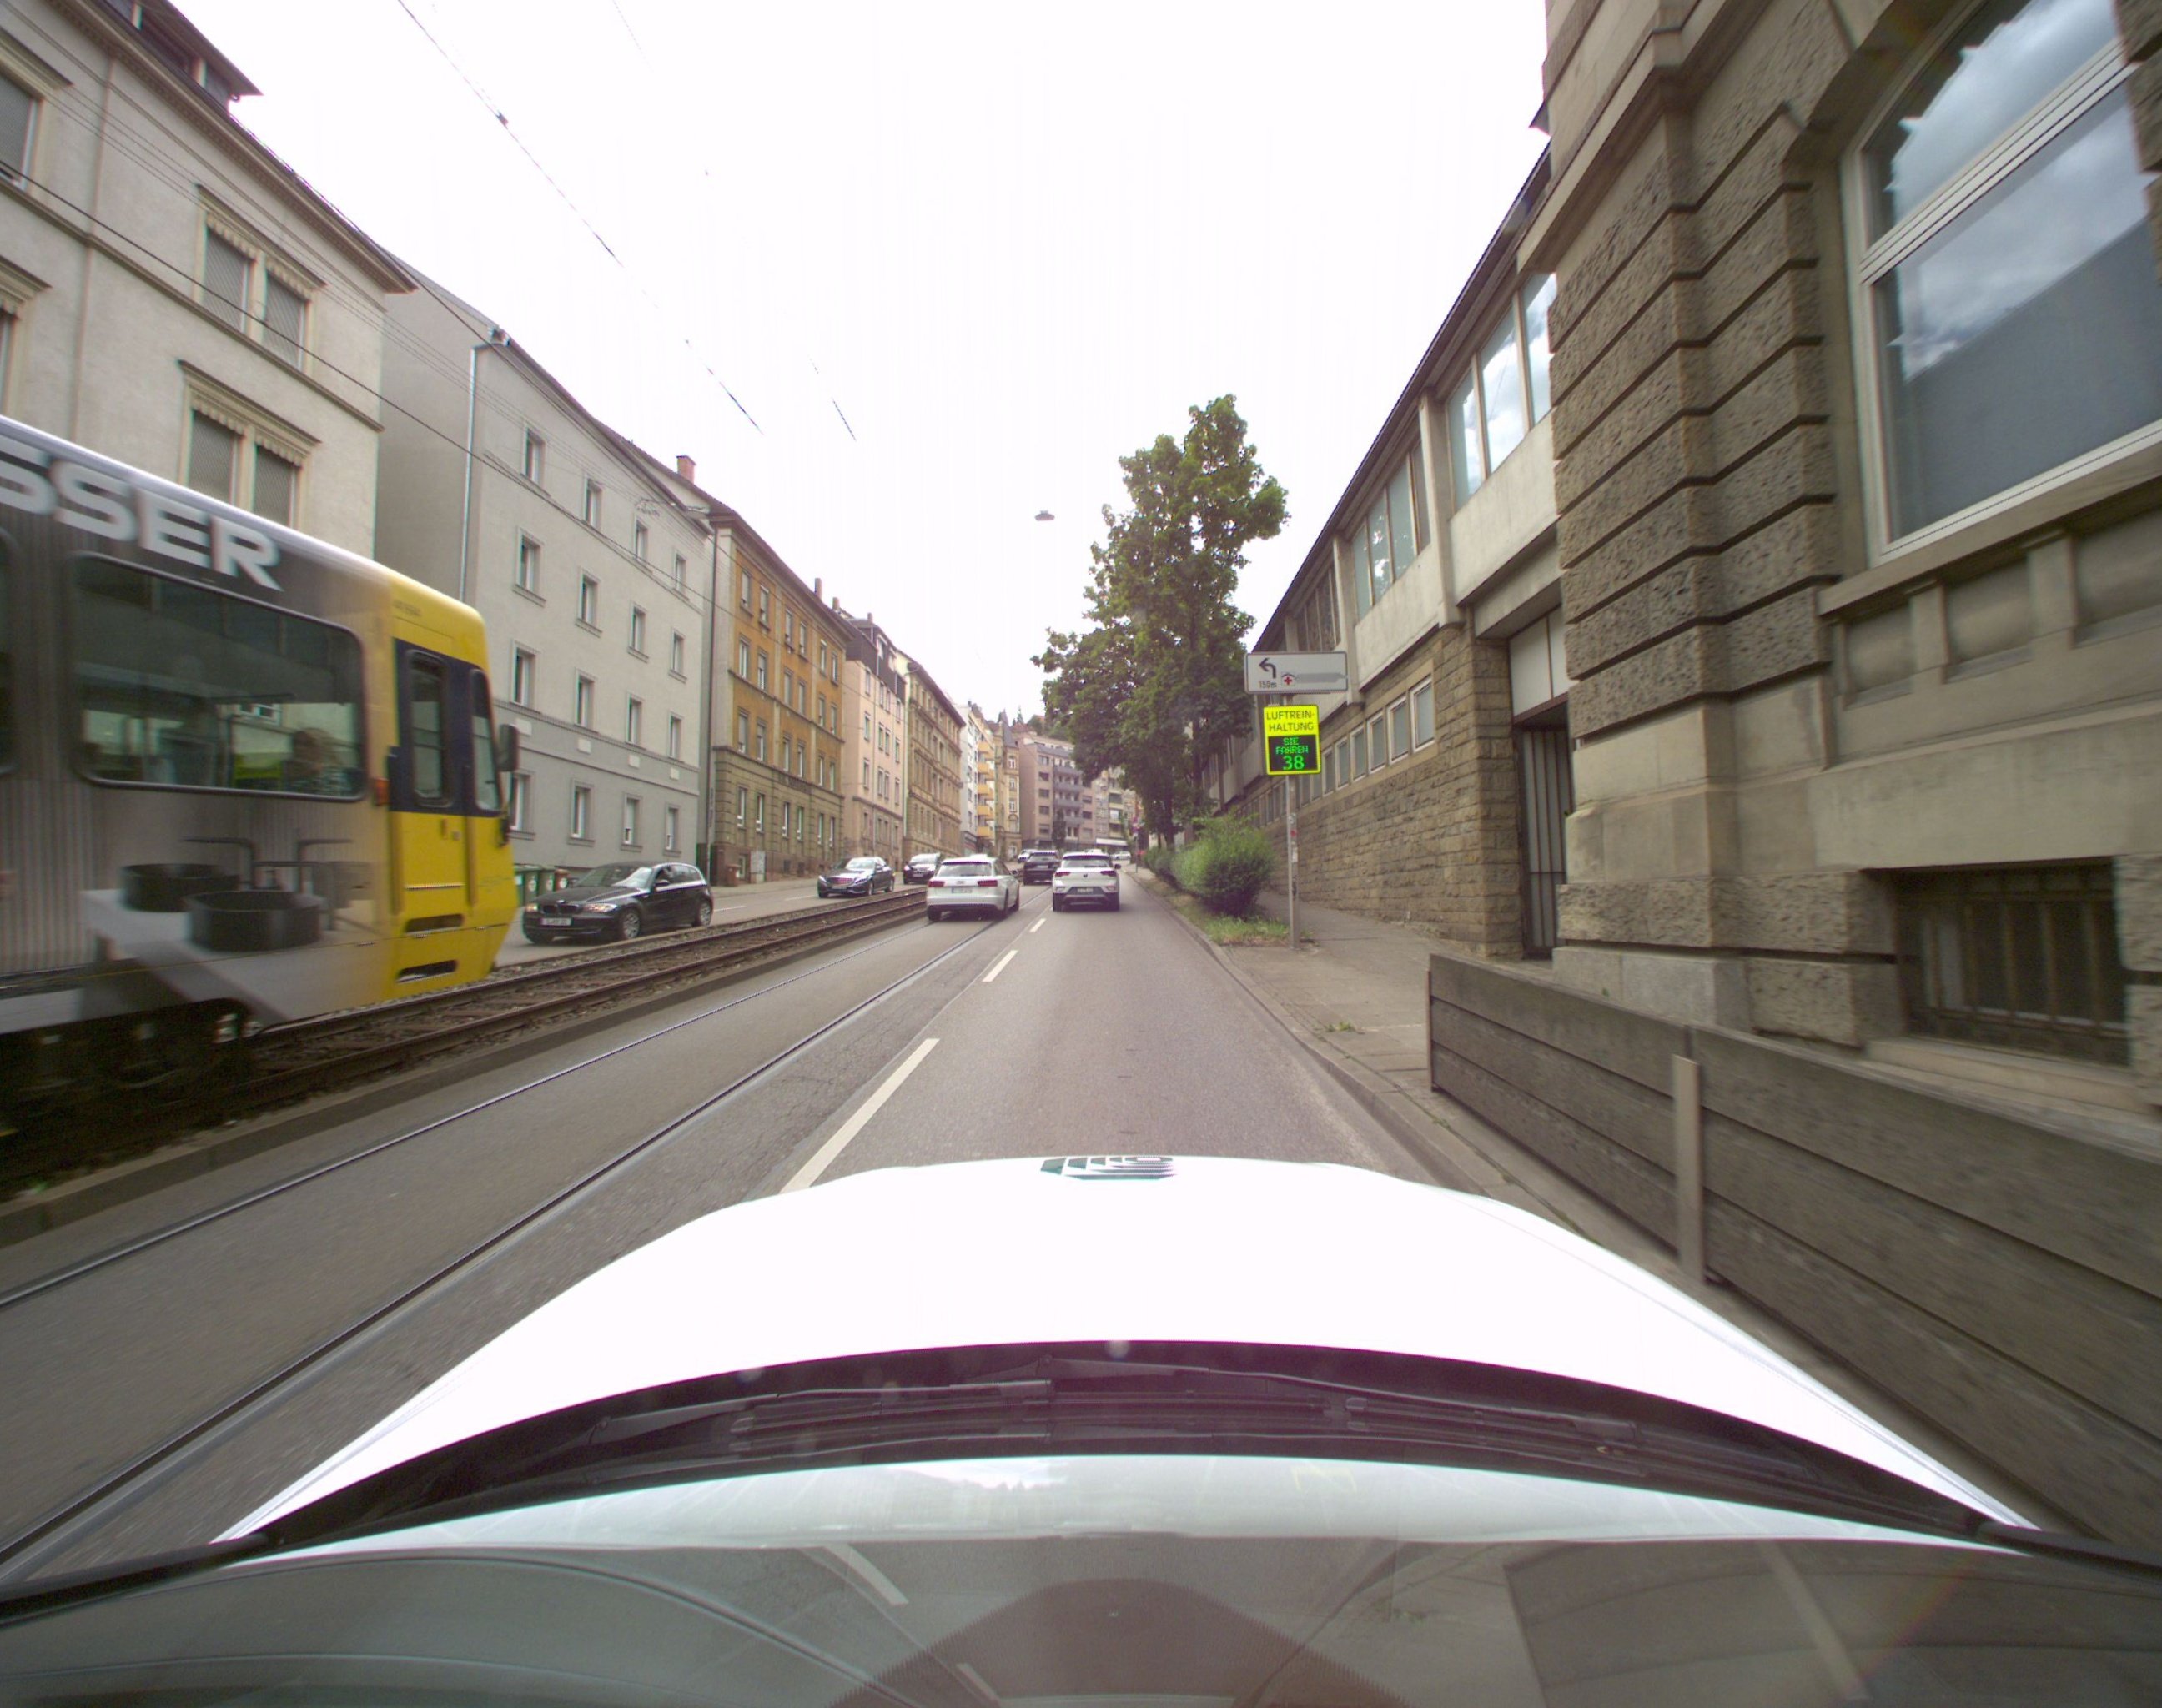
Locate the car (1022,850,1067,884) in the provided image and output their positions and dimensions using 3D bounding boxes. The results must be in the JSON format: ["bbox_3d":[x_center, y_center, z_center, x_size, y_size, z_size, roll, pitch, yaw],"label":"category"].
[{"bbox_3d":[-1.742,0.585,39.788,2.032,1.571,4.355,-1,0,-2],"label":"car"}]

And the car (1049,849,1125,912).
[{"bbox_3d":[0.104,0.643,22.297,1.873,1.554,3.998,-1,0,-1],"label":"car"}]
